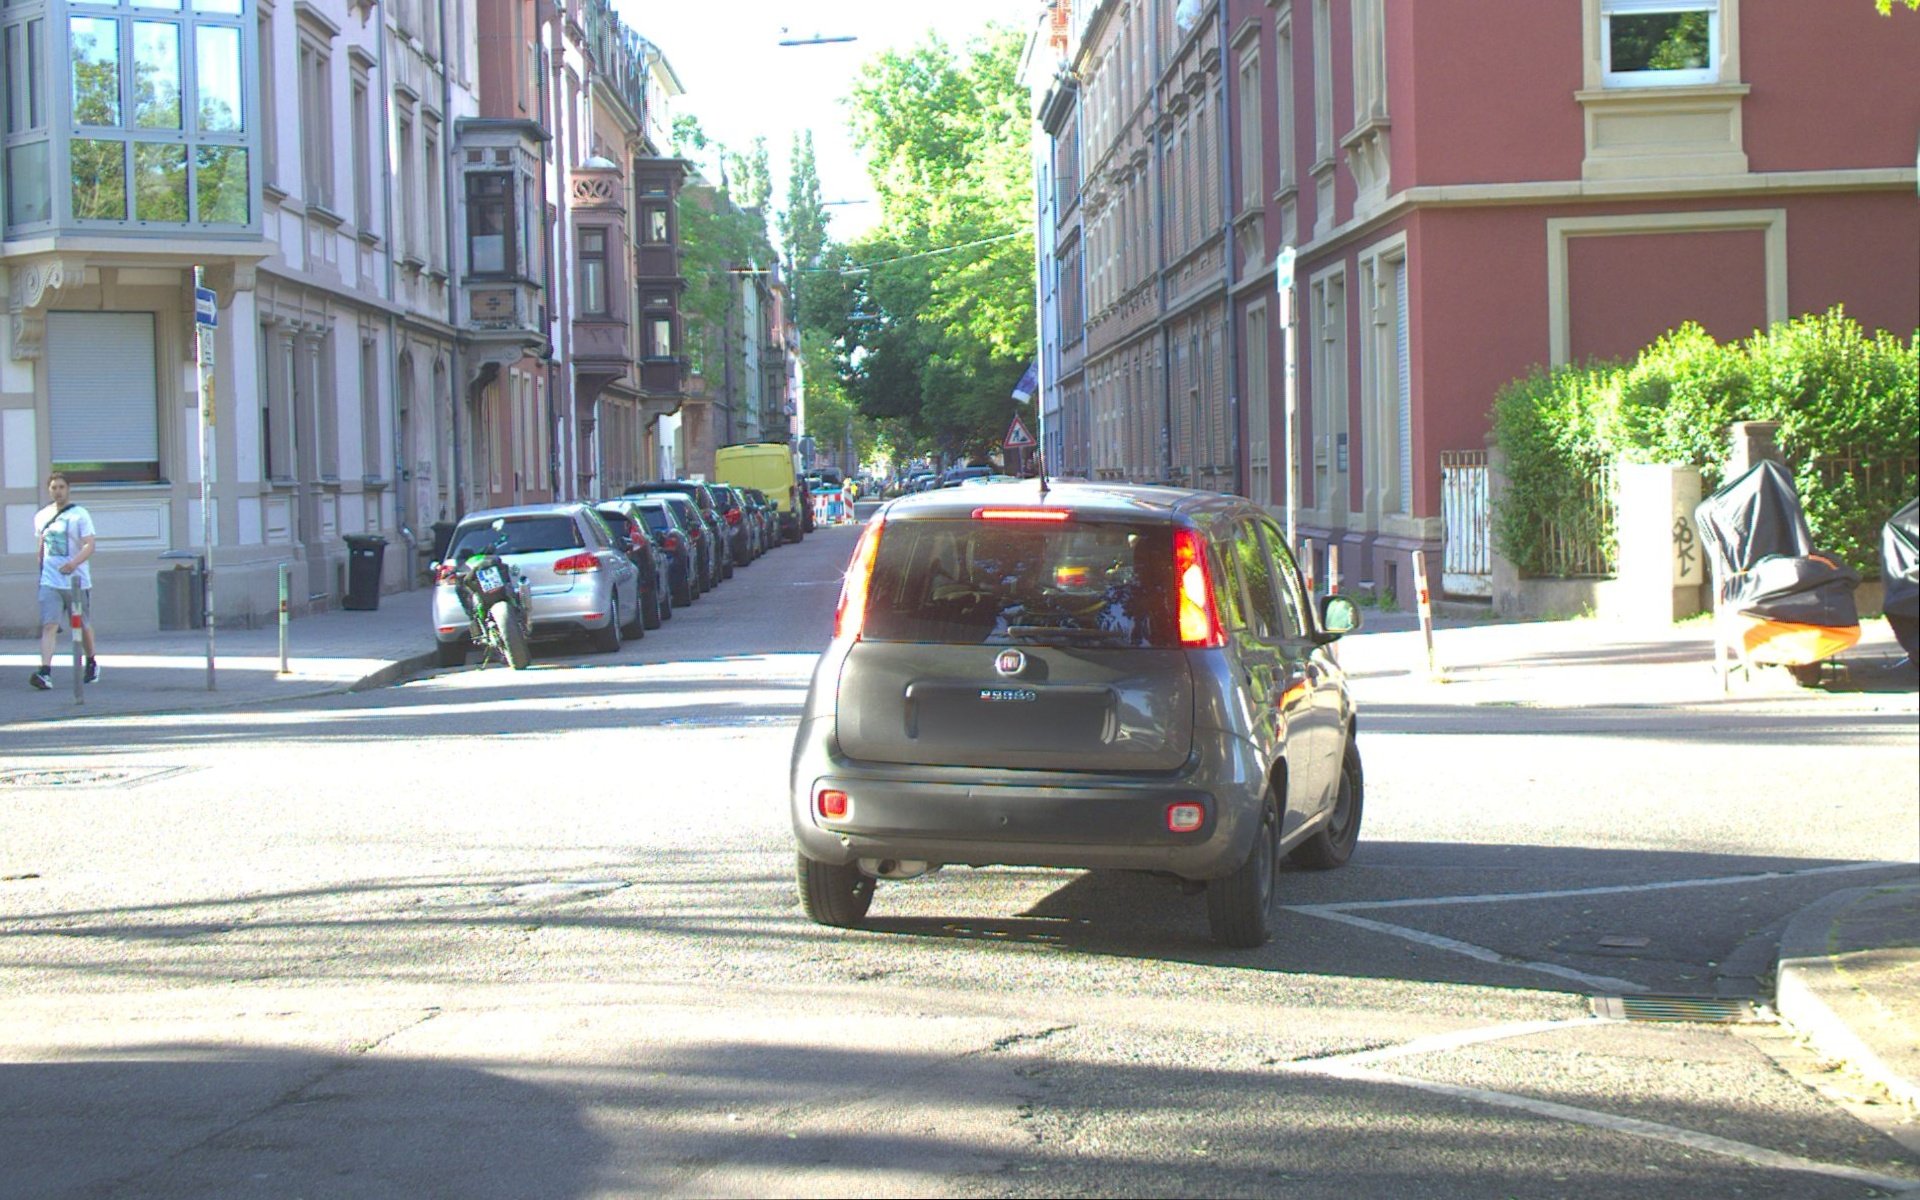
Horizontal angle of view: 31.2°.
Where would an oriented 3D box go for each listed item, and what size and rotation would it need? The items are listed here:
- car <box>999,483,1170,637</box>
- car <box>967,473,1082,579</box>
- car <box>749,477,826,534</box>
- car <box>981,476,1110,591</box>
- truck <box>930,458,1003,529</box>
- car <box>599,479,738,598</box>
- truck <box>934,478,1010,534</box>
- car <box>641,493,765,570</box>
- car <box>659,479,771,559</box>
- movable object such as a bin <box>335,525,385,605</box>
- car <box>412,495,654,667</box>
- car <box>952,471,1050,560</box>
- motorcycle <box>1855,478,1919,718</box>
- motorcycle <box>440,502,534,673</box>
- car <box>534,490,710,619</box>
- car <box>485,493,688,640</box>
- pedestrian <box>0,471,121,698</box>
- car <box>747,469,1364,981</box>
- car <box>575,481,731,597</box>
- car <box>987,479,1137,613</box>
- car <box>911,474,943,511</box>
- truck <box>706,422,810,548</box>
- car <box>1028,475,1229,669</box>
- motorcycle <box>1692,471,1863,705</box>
[{"bbox_3d":[1.264,-0.462,36.289,1.663,1.500,3.757,0,2,0],"label":"car"},{"bbox_3d":[0.938,-1.146,51.867,1.663,1.527,3.757,0,2,0],"label":"car"},{"bbox_3d":[-5.089,-2.831,102.053,1.962,1.474,3.925,-5,2,0],"label":"car"},{"bbox_3d":[1.140,-0.946,47.282,1.663,1.500,3.757,0,2,0],"label":"car"},{"bbox_3d":[0.162,-3.142,100.523,1.993,1.985,4.001,-2,2,-1],"label":"truck"},{"bbox_3d":[-4.692,-1.027,55.764,1.775,1.692,3.925,-5,2,0],"label":"car"},{"bbox_3d":[0.305,-2.620,95.158,1.993,1.451,4.001,-2,2,-1],"label":"truck"},{"bbox_3d":[-4.829,-1.319,65.050,1.962,1.220,3.925,-5,2,0],"label":"car"},{"bbox_3d":[-5.143,-1.733,72.693,1.962,1.474,3.925,-5,2,0],"label":"car"},{"bbox_3d":[-7.342,-0.428,42.077,0.511,0.949,0.501,-2,2,-3],"label":"movable object such as a bin"},{"bbox_3d":[-4.181,-0.241,34.215,1.797,1.427,3.925,-5,2,0],"label":"car"},{"bbox_3d":[0.704,-1.521,60.946,1.663,1.500,3.757,0,2,0],"label":"car"},{"bbox_3d":[6.507,-0.061,22.665,0.827,1.399,2.556,-1,4,7],"label":"motorcycle"},{"bbox_3d":[-4.265,-0.137,30.917,0.696,1.455,1.751,-3,2,-10],"label":"motorcycle"},{"bbox_3d":[-4.427,-0.637,45.511,1.825,1.462,3.925,-5,2,0],"label":"car"},{"bbox_3d":[-4.209,-0.423,39.299,1.777,1.408,3.925,-5,2,0],"label":"car"},{"bbox_3d":[-7.372,-0.134,28.195,0.723,1.833,0.626,0,2,10],"label":"pedestrian"},{"bbox_3d":[0.470,0.325,12.497,1.634,1.544,3.263,1,3,13],"label":"car"},{"bbox_3d":[-4.477,-0.932,50.607,1.828,1.474,3.925,-5,2,0],"label":"car"},{"bbox_3d":[1.174,-0.679,40.883,1.663,1.500,3.757,0,2,0],"label":"car"},{"bbox_3d":[-1.494,-4.859,155.675,1.367,1.612,3.414,-2,2,0],"label":"car"},{"bbox_3d":[-5.051,-2.920,86.773,2.070,2.915,5.068,-5,2,0],"label":"truck"},{"bbox_3d":[1.504,-0.314,31.799,1.663,1.663,3.757,0,2,0],"label":"car"},{"bbox_3d":[5.511,-0.112,23.304,1.020,1.399,2.191,-1,4,11],"label":"motorcycle"}]
